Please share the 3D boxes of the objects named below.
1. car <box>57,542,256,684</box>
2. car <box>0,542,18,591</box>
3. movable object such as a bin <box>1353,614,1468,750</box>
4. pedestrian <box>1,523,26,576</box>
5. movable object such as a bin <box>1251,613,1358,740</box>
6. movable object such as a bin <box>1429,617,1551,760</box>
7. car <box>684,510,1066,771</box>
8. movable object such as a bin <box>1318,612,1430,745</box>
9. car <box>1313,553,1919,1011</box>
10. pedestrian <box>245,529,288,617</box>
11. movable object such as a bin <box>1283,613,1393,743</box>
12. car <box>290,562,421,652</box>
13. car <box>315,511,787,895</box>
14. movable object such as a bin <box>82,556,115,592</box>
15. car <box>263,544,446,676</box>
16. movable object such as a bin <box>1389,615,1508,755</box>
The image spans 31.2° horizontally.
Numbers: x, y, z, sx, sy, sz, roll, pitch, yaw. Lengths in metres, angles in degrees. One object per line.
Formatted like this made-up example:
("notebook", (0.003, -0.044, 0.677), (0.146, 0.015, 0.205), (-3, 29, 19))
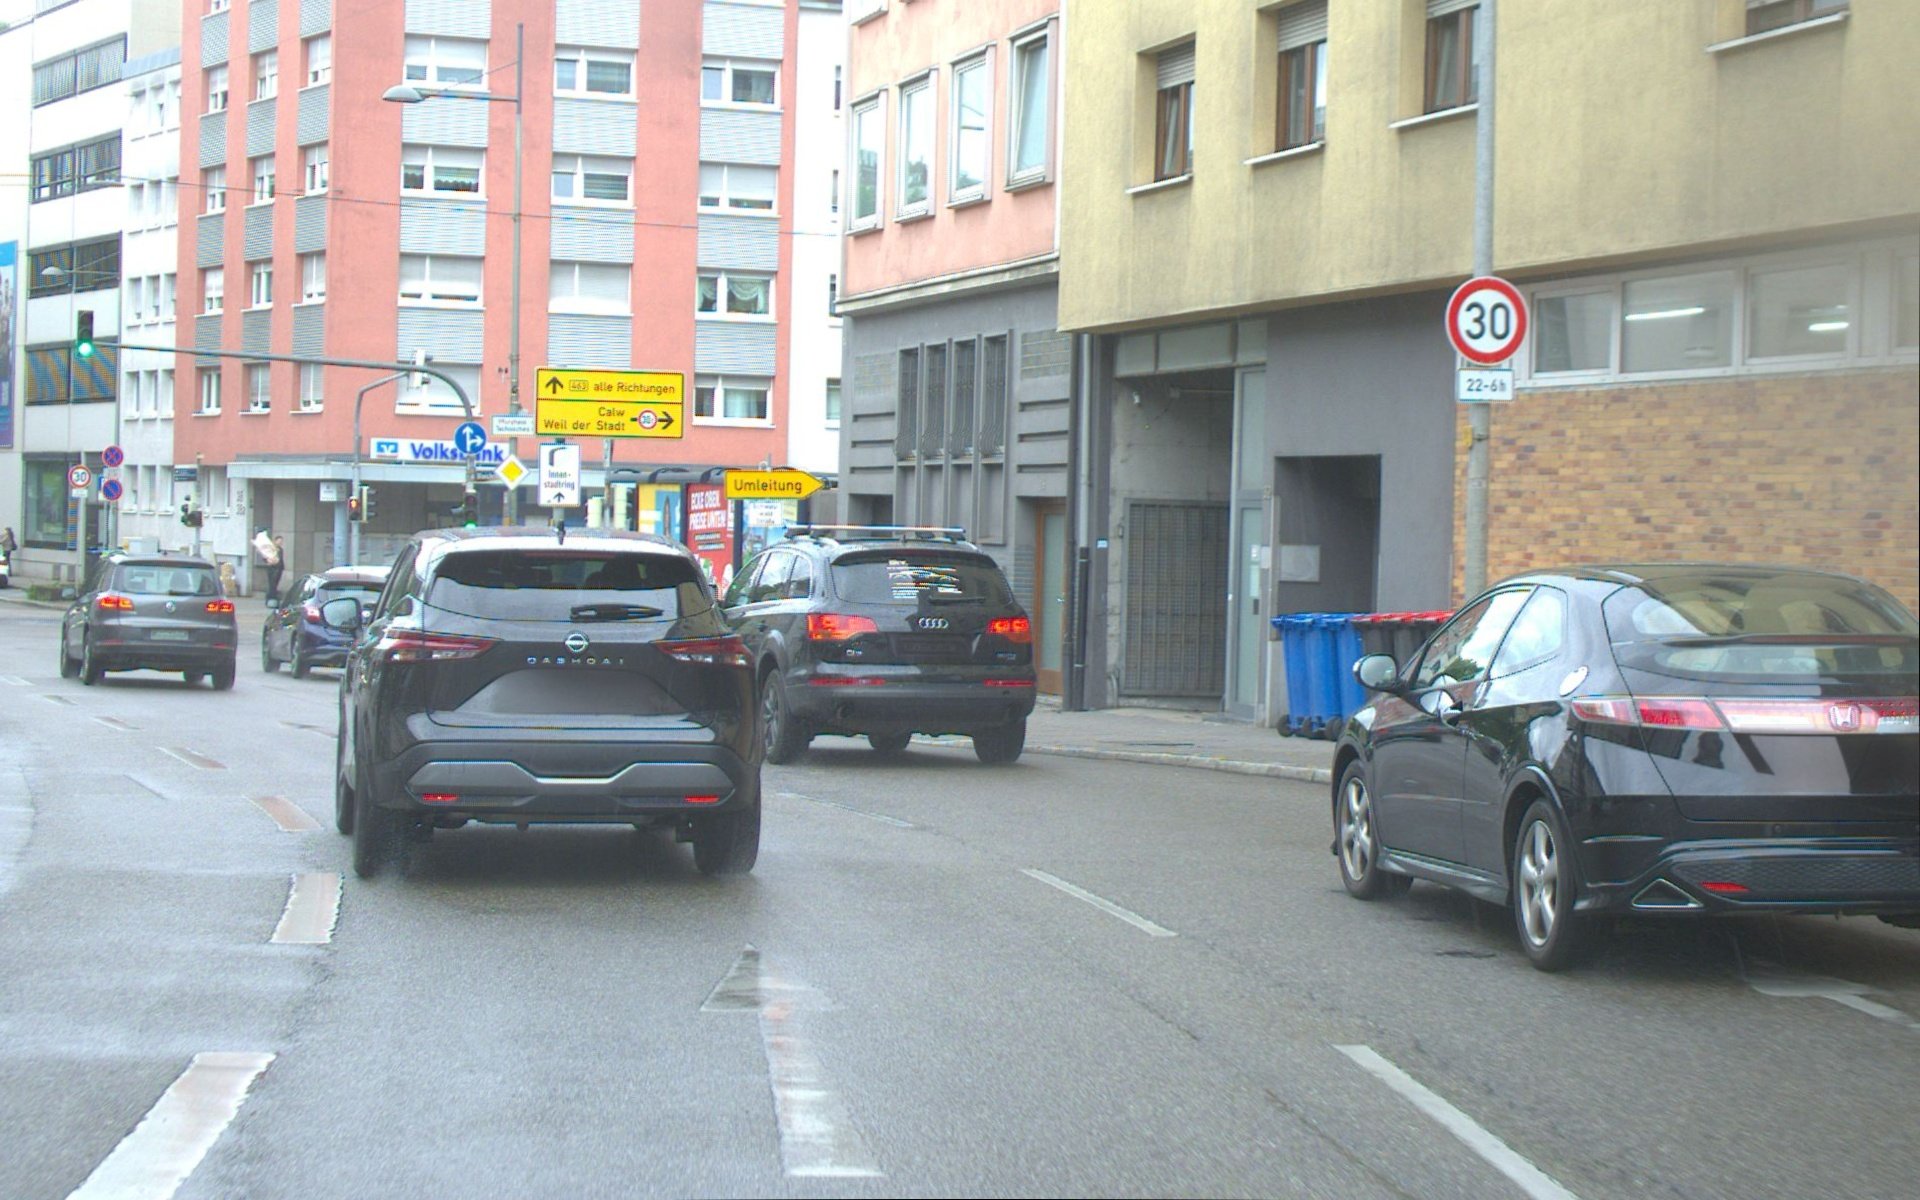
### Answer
("car", (-10.132, 0.122, 43.157), (1.945, 1.679, 4.001), (-1, 1, -20))
("car", (-29.724, -1.038, 103.107), (1.774, 1.396, 4.580), (-1, 2, -29))
("movable object such as a bin", (3.647, 0.658, 27.849), (0.680, 1.073, 0.668), (1, 0, -19))
("pedestrian", (-30.801, -1.644, 111.890), (0.612, 1.731, 0.681), (-1, 2, -34))
("movable object such as a bin", (2.986, 0.657, 29.810), (0.680, 1.073, 0.668), (1, 0, -19))
("movable object such as a bin", (4.090, 0.678, 26.547), (0.680, 1.073, 0.668), (1, 0, -19))
("car", (-0.790, 0.249, 27.124), (2.020, 1.863, 4.901), (0, 1, -14))
("movable object such as a bin", (3.427, 0.650, 28.494), (0.680, 1.073, 0.668), (1, 0, -19))
("car", (2.692, 0.568, 13.387), (1.783, 1.491, 4.057), (0, 1, -7))
("pedestrian", (-17.376, -0.681, 86.153), (0.825, 2.151, 0.770), (3, 0, -21))
("movable object such as a bin", (3.203, 0.654, 29.142), (0.680, 1.073, 0.668), (1, 0, -19))
("car", (-11.224, 0.104, 64.053), (1.993, 1.481, 4.001), (4, 0, -5))
("car", (-2.107, 0.428, 16.706), (1.894, 1.623, 4.001), (1, 0, -12))
("movable object such as a bin", (-25.712, -0.778, 102.640), (0.712, 1.064, 0.784), (1, 1, -33))
("car", (-8.797, 0.100, 49.718), (1.945, 1.810, 4.001), (-1, 1, -20))
("movable object such as a bin", (3.863, 0.667, 27.196), (0.680, 1.073, 0.668), (1, 0, -19))
